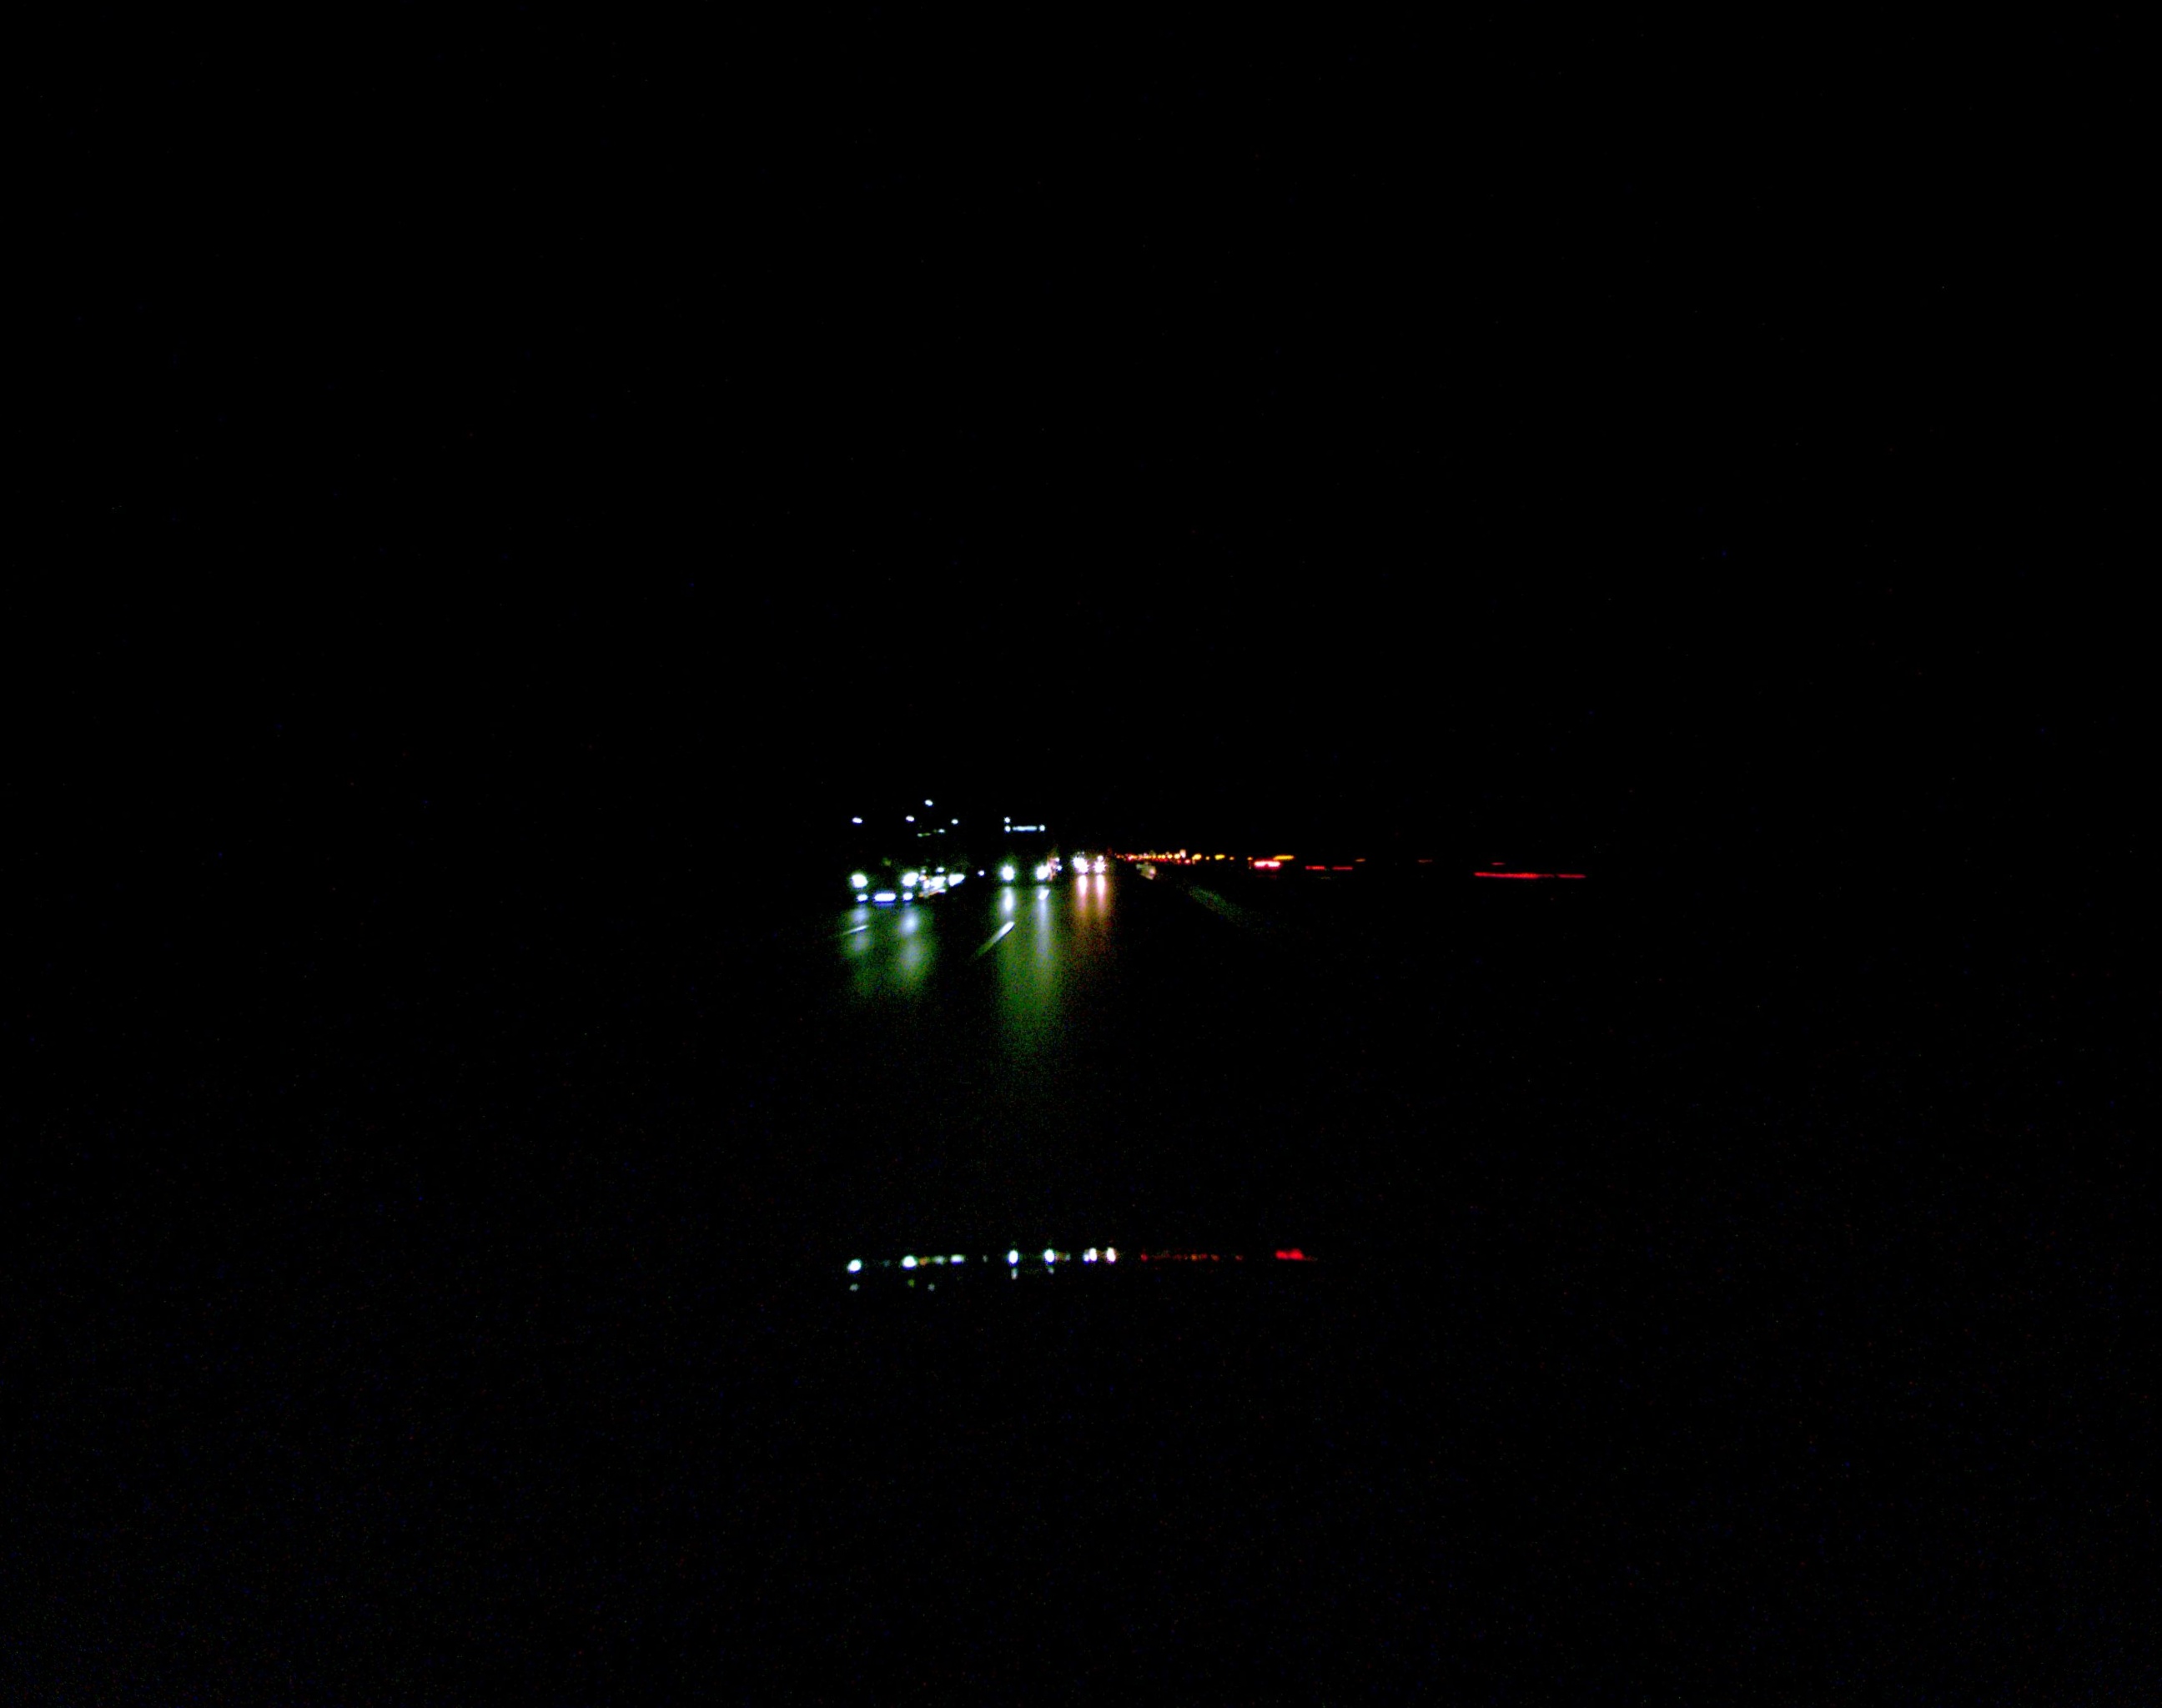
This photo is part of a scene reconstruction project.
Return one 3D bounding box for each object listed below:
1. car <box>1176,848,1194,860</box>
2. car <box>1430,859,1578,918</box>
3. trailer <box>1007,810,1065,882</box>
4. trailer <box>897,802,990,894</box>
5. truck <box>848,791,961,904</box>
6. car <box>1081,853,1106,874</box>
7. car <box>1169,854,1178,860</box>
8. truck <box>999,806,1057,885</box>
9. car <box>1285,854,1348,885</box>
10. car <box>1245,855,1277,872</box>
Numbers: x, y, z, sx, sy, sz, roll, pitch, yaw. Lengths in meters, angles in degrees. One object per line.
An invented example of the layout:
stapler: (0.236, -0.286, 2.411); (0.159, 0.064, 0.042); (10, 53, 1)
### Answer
car: (13.975, -0.018, 102.002); (1.755, 1.470, 4.582); (1, 0, 0)
car: (12.101, 0.918, 22.137); (1.754, 1.470, 4.582); (1, 0, 0)
trailer: (-2.843, -0.507, 52.132); (2.749, 4.182, 13.510); (-2, 0, 1)
trailer: (-6.832, -0.275, 39.422); (2.597, 4.049, 10.008); (-2, 0, 1)
truck: (-7.027, -0.247, 31.528); (2.597, 4.049, 7.673); (-2, 0, 1)
car: (0.922, 0.704, 58.623); (1.825, 1.457, 4.247); (-2, 0, 0)
car: (21.469, 0.772, 175.760); (1.665, 1.326, 4.810); (1, 0, 3)
truck: (-2.980, -0.482, 44.803); (2.668, 4.182, 6.722); (-2, 0, 1)
car: (12.122, 0.740, 39.418); (1.755, 1.470, 4.582); (1, 0, 0)
car: (16.053, 0.828, 68.040); (1.755, 1.470, 4.582); (1, 0, 0)
